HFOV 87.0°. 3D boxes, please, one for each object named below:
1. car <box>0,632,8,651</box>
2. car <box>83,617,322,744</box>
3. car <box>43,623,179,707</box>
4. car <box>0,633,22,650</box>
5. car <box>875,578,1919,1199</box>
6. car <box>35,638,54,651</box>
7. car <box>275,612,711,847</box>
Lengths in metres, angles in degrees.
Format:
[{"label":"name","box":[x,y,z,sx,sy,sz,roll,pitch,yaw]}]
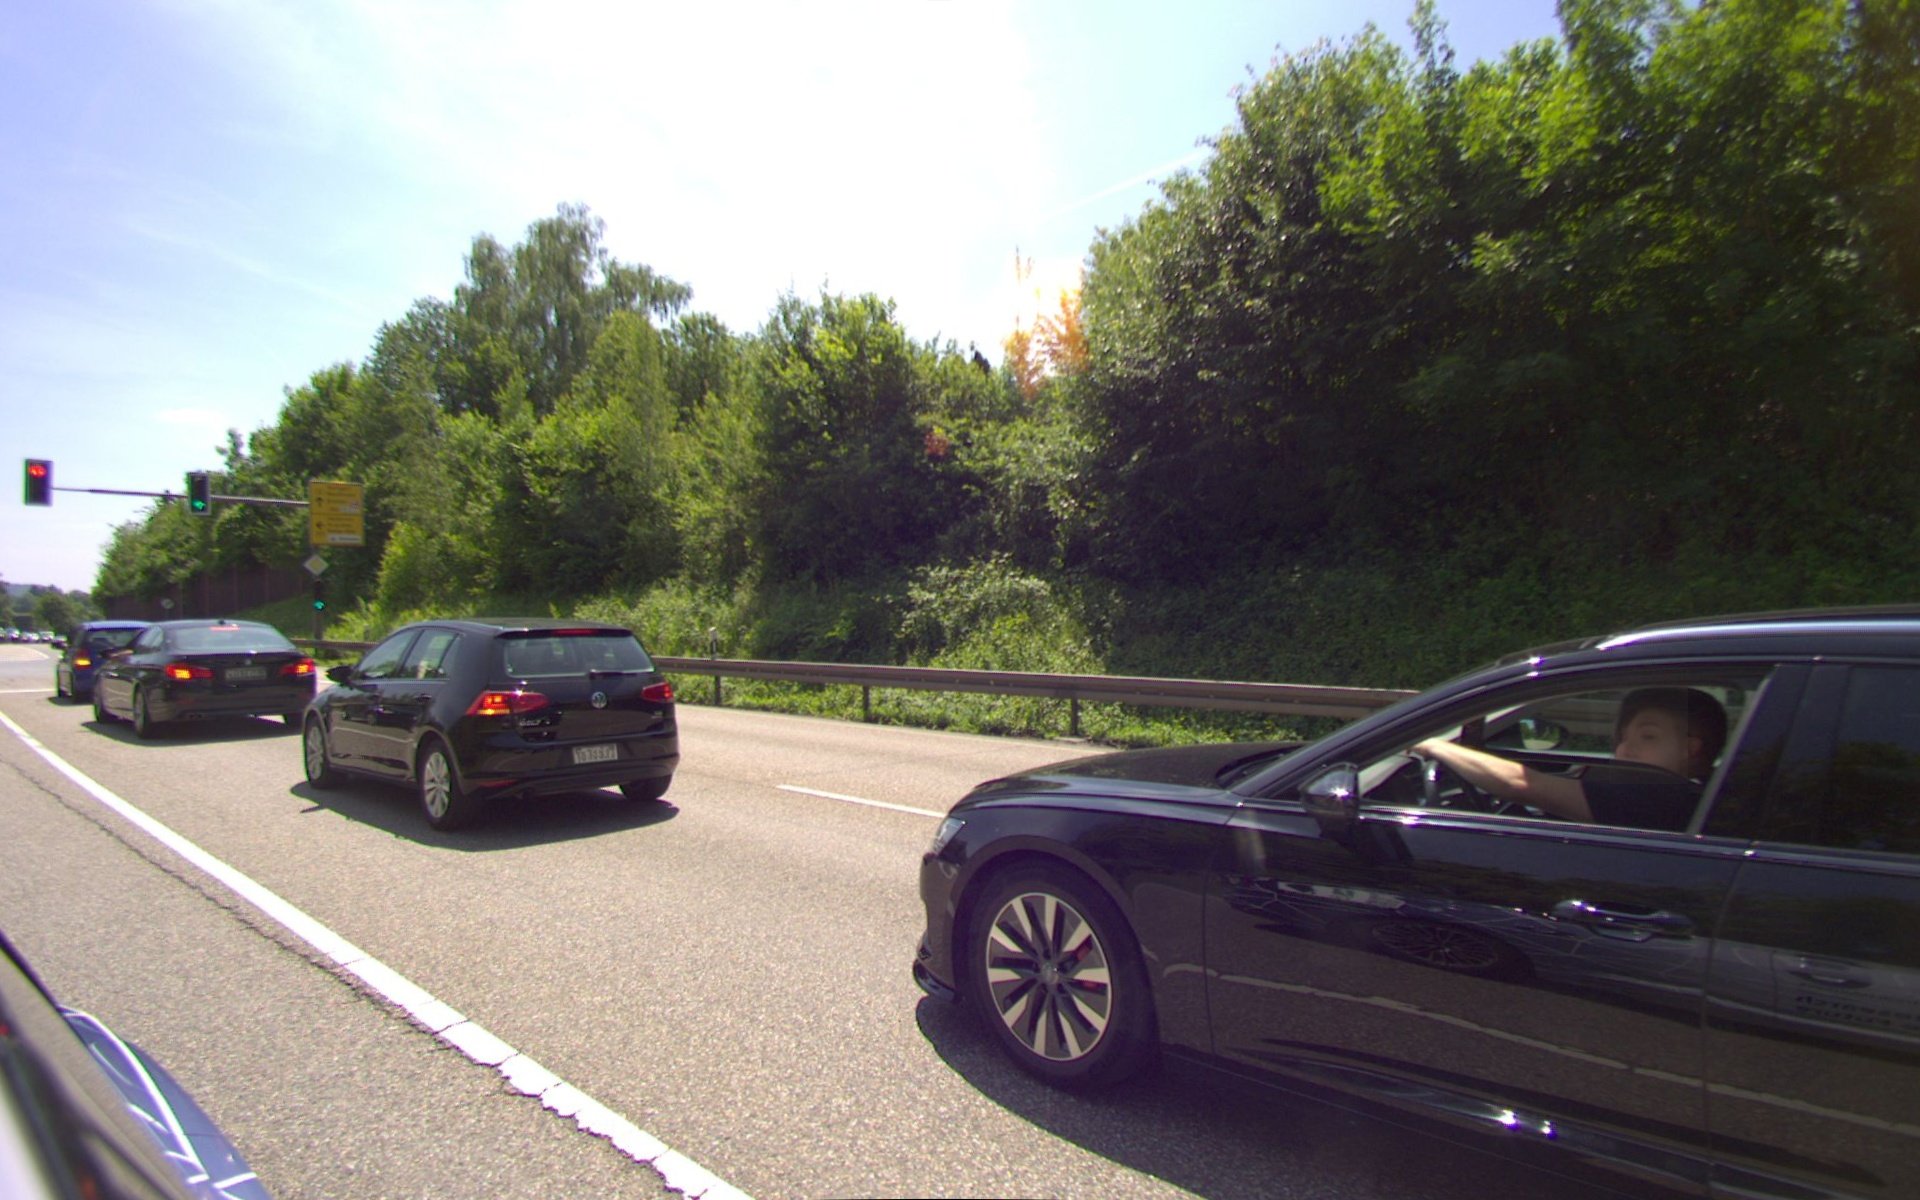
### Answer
[{"label":"car","box":[-97.273,4.191,101.974,1.970,1.780,4.004,-1,-1,-43]},{"label":"car","box":[-10.500,0.999,13.892,4.639,1.458,1.762,-2,-2,42]},{"label":"car","box":[-16.406,1.190,19.505,3.770,1.451,1.549,-2,-2,43]},{"label":"car","box":[-106.057,4.610,112.968,1.970,1.780,4.004,-1,-1,-43]},{"label":"car","box":[1.917,0.708,2.727,4.386,1.464,1.785,-1,-1,42]},{"label":"car","box":[-137.297,6.616,151.767,1.970,1.780,4.004,-1,-1,-43]},{"label":"car","box":[-3.957,0.820,8.228,4.179,1.425,1.664,0,-1,41]}]
